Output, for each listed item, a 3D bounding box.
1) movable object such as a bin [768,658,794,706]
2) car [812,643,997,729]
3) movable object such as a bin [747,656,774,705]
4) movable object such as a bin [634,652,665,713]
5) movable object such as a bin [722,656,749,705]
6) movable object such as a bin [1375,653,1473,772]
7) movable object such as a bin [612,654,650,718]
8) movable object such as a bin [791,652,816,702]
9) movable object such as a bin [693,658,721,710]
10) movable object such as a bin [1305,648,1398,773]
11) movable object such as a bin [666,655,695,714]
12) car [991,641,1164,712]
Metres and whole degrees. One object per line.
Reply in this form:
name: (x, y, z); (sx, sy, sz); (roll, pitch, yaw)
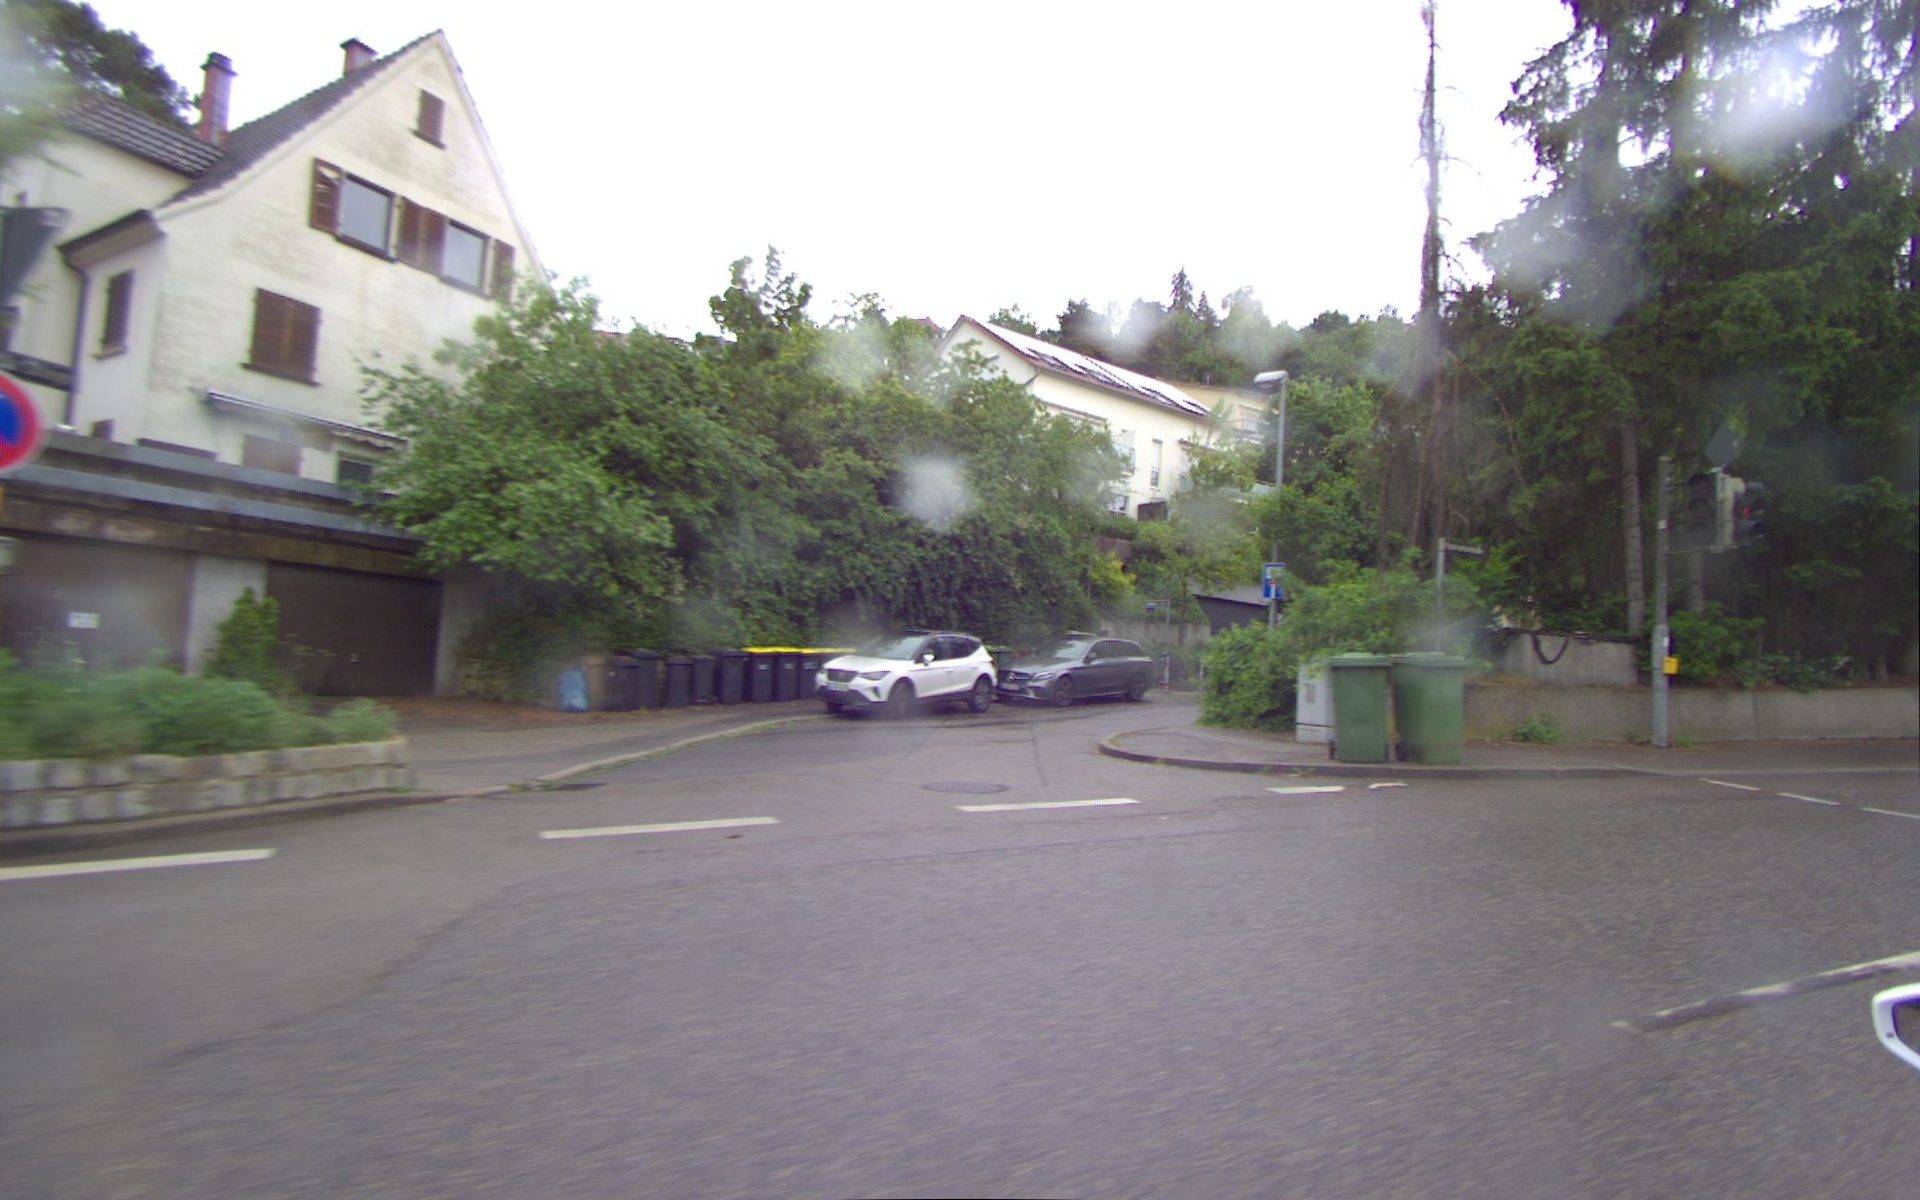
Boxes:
movable object such as a bin: (-3.596, 1.634, 20.156); (0.288, 0.928, 0.392); (2, -1, 44)
car: (-0.933, 1.535, 18.828); (1.522, 1.348, 3.738); (2, -1, 33)
movable object such as a bin: (-3.935, 1.584, 19.826); (0.291, 0.928, 0.392); (2, -1, 44)
movable object such as a bin: (-5.586, 1.475, 18.058); (0.344, 1.059, 0.386); (2, -1, 44)
movable object such as a bin: (-4.333, 1.546, 19.376); (0.297, 0.928, 0.374); (2, -1, 44)
movable object such as a bin: (4.584, 1.098, 9.959); (0.692, 1.102, 0.560); (2, 0, 2)
movable object such as a bin: (-5.722, 1.489, 17.473); (0.362, 1.078, 0.496); (2, -1, 44)
movable object such as a bin: (-3.200, 1.575, 20.600); (0.302, 1.008, 0.368); (2, -1, 44)
movable object such as a bin: (-4.782, 1.580, 18.985); (0.317, 0.955, 0.380); (2, -1, 44)
movable object such as a bin: (3.881, 1.075, 9.989); (0.655, 1.154, 0.626); (2, 0, 2)
movable object such as a bin: (-5.101, 1.534, 18.324); (0.297, 1.053, 0.380); (2, -1, 44)
car: (2.767, 1.679, 22.795); (1.580, 1.378, 4.423); (2, -1, 43)
